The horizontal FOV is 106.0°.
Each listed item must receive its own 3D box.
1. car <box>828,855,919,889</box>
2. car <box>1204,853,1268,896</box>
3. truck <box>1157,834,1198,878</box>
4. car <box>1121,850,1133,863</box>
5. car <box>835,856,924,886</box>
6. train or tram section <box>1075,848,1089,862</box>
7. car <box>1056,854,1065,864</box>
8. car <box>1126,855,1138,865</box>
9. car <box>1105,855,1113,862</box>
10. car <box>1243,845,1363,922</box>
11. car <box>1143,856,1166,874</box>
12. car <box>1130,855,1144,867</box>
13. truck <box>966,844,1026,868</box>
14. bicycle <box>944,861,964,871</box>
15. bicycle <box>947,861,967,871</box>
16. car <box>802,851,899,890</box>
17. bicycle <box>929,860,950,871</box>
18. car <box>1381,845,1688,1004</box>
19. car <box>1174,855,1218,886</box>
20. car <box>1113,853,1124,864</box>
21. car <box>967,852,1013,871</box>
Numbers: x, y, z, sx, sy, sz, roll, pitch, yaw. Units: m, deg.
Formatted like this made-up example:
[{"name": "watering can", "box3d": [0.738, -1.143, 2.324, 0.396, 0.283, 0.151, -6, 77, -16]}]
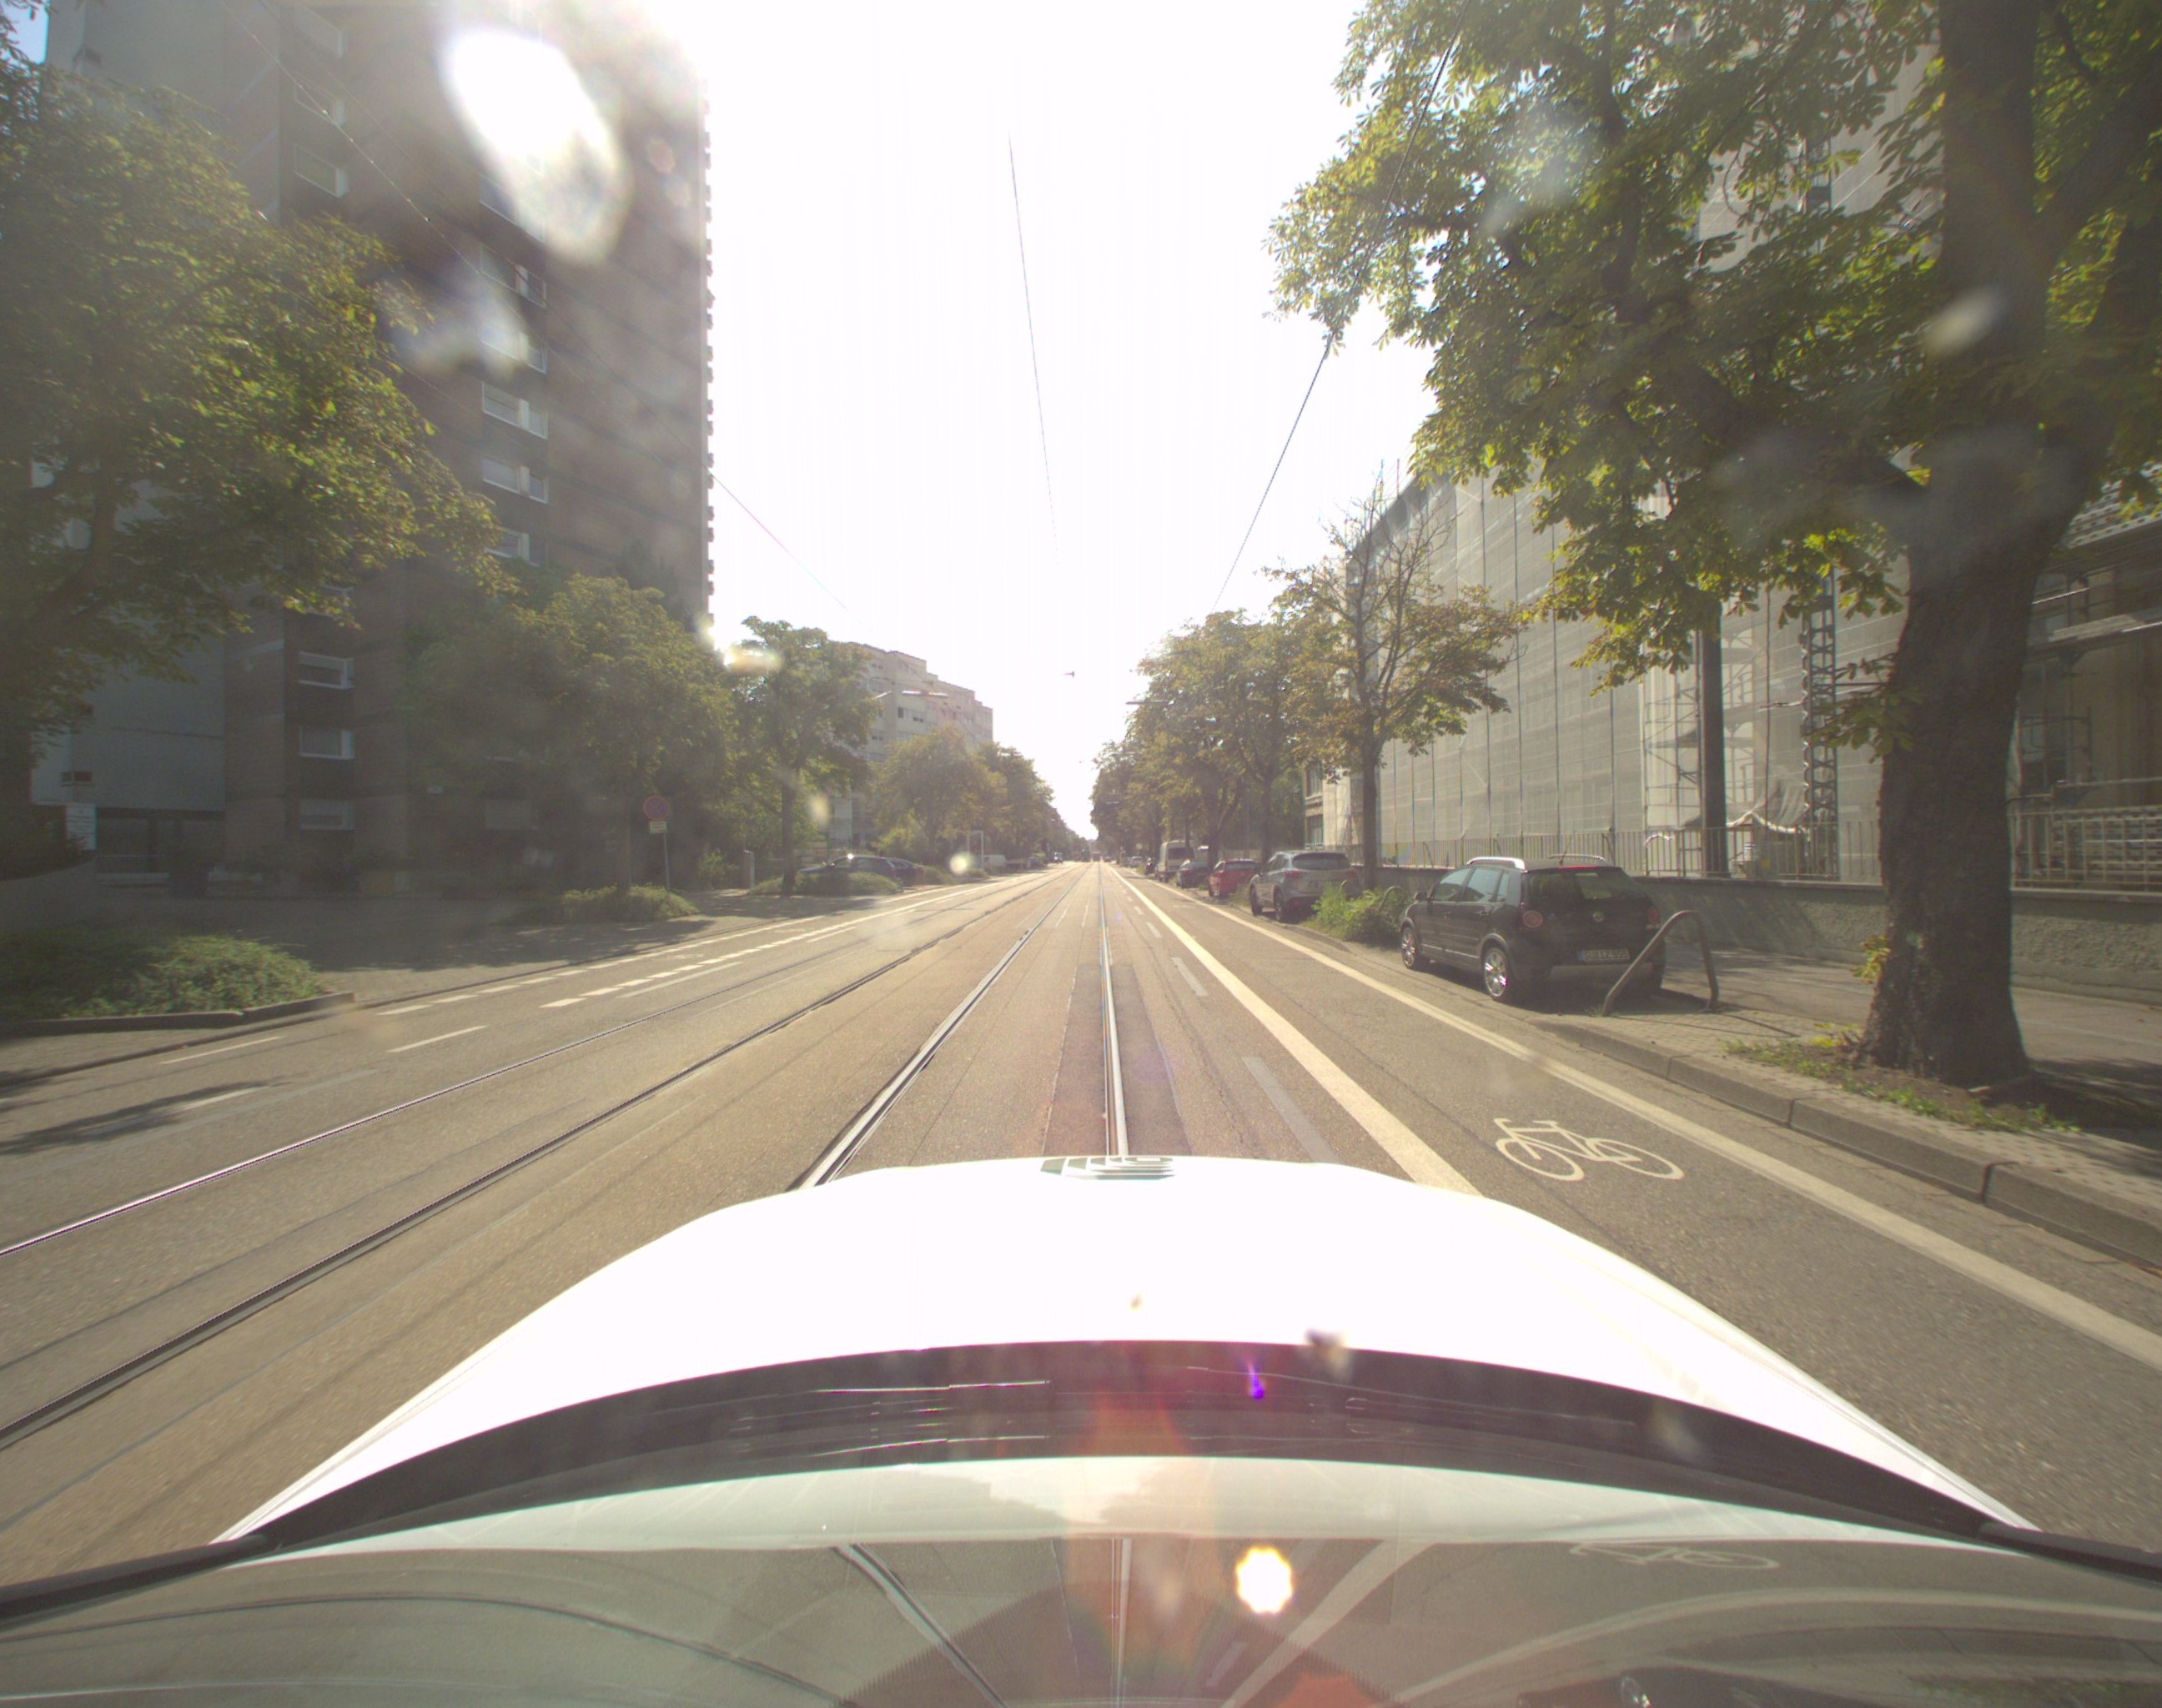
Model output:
[{"name": "car", "box3d": [-10.038, 0.841, 39.329, 4.007, 1.570, 1.765, 0, 0, -26]}, {"name": "car", "box3d": [5.775, 0.750, 30.772, 1.679, 1.500, 4.132, 0, -1, 1]}, {"name": "truck", "box3d": [5.981, 0.128, 51.249, 1.910, 2.599, 5.591, 0, -1, 0]}, {"name": "car", "box3d": [8.184, 0.426, 145.399, 1.986, 2.365, 4.001, 0, -1, 1]}, {"name": "car", "box3d": [-10.526, 0.855, 42.595, 4.303, 1.497, 1.766, 0, 0, -25]}, {"name": "train or tram section", "box3d": [0.244, 0.263, 236.439, 3.483, 3.704, 12.419, 0, 0, 2]}, {"name": "car", "box3d": [-4.908, 1.257, 195.509, 2.236, 2.441, 3.996, 0, -1, -2]}, {"name": "car", "box3d": [7.361, 0.878, 117.487, 1.635, 1.511, 3.642, 0, -1, 1]}, {"name": "car", "box3d": [7.261, 1.056, 212.361, 1.986, 1.801, 4.001, 0, -1, 1]}, {"name": "car", "box3d": [5.350, 0.653, 20.277, 1.756, 1.688, 4.648, 0, 0, 0]}, {"name": "car", "box3d": [6.331, 0.920, 70.478, 1.668, 1.458, 4.665, -1, 0, 1]}, {"name": "car", "box3d": [7.138, 0.861, 103.859, 1.783, 1.446, 3.736, -2, -1, 4]}, {"name": "truck", "box3d": [-8.806, 0.207, 84.912, 5.997, 2.434, 2.126, -1, 1, -38]}, {"name": "bicycle", "box3d": [-14.744, 1.410, 94.582, 2.319, 1.169, 0.625, 1, -1, 19]}, {"name": "bicycle", "box3d": [-14.515, 1.428, 95.316, 2.320, 1.169, 0.625, 1, -1, 18]}, {"name": "car", "box3d": [-10.290, 0.690, 36.293, 4.003, 1.648, 1.828, 0, 0, -22]}, {"name": "bicycle", "box3d": [-15.868, 1.327, 91.544, 2.318, 1.169, 0.605, 1, -1, 21]}, {"name": "car", "box3d": [5.230, 0.704, 10.070, 1.679, 1.570, 4.002, 0, 0, 2]}, {"name": "car", "box3d": [5.717, 0.817, 40.932, 1.679, 1.440, 4.805, 0, -1, 2]}, {"name": "car", "box3d": [7.925, 0.900, 172.232, 1.989, 2.233, 3.995, -1, 0, -4]}, {"name": "car", "box3d": [-9.024, 0.735, 81.180, 4.309, 1.772, 1.803, -1, -1, -42]}]
